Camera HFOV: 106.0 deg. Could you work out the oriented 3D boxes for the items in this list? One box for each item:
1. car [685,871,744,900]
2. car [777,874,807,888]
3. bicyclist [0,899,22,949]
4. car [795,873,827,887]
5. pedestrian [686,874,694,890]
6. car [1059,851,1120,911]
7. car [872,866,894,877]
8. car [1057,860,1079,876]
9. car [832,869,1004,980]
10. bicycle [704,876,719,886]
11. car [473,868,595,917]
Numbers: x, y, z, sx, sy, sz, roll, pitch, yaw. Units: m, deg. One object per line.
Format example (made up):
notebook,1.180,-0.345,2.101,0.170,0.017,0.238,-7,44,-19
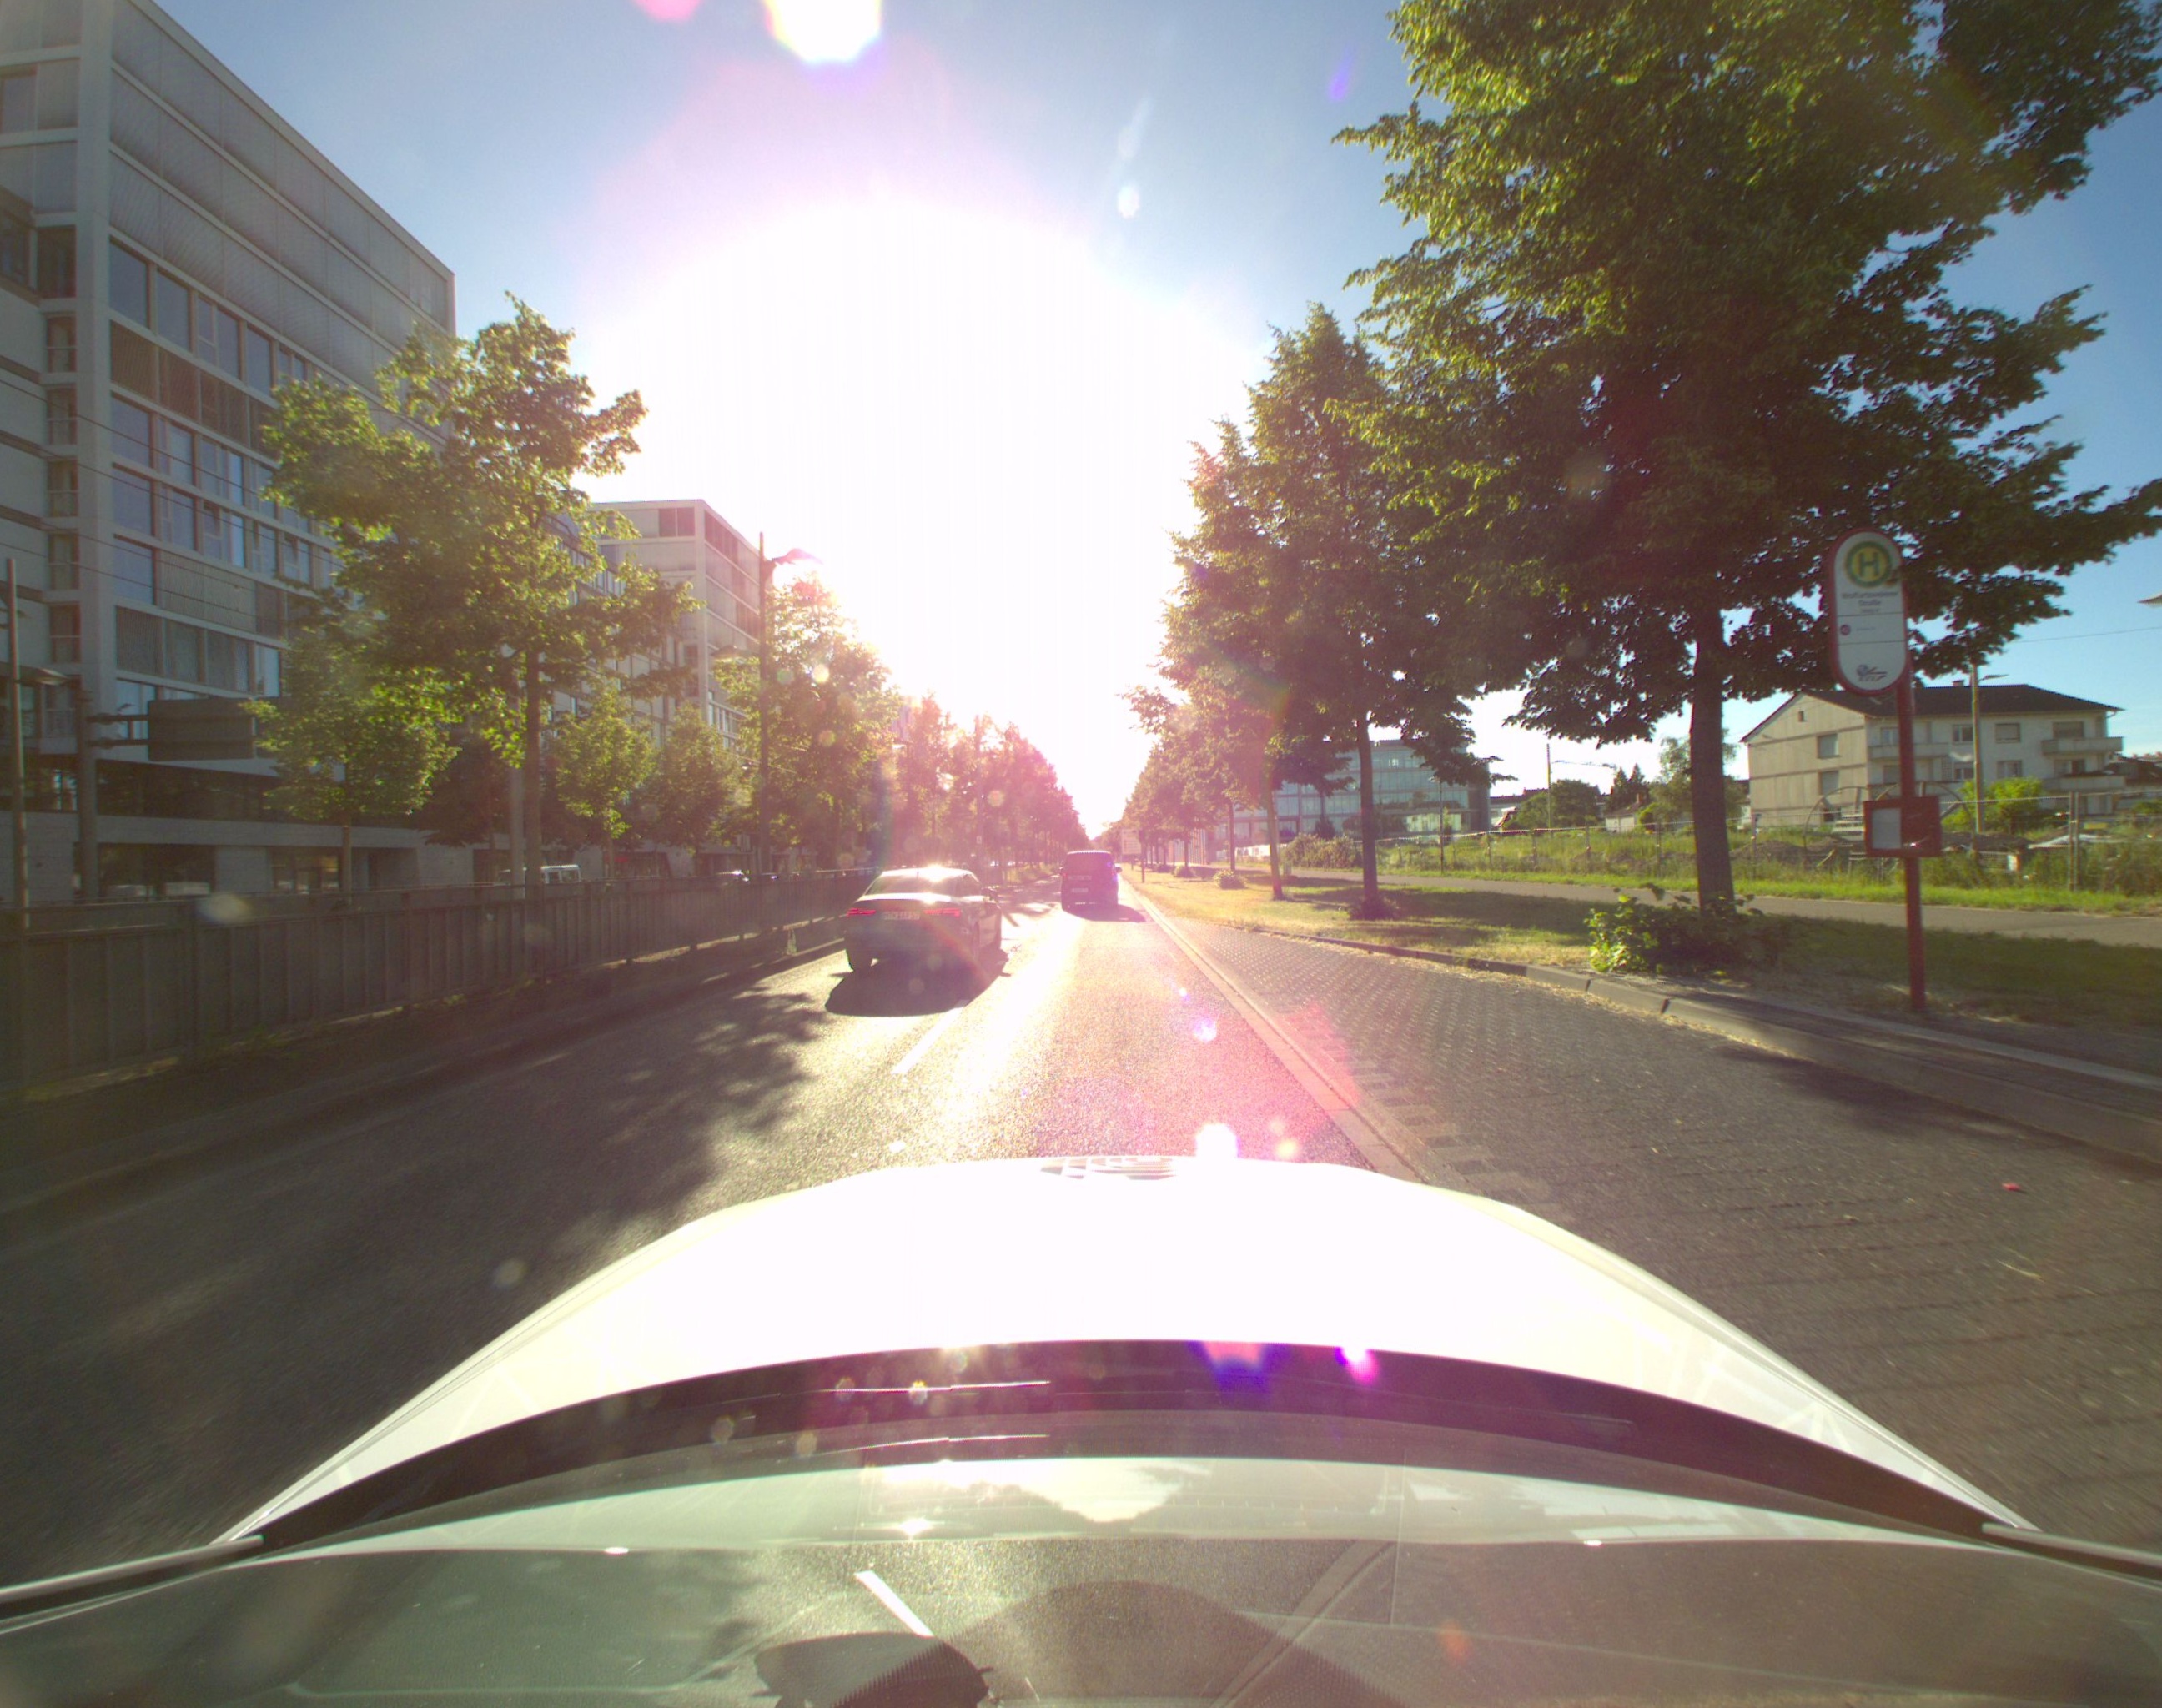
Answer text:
car,-21.252,1.788,47.341,1.673,1.520,3.701,-2,0,1
car,-29.088,2.709,82.062,1.662,1.207,3.583,-2,0,0
bicyclist,-32.840,2.123,24.549,0.717,1.463,0.832,-2,-1,3
car,-29.106,2.787,87.918,1.662,1.420,4.805,-2,0,1
pedestrian,-35.908,2.556,74.752,0.406,1.413,0.690,-2,-2,1
car,0.261,0.841,26.400,1.792,1.777,3.999,-1,-1,0
car,-28.135,2.414,115.830,1.709,1.420,4.546,-2,0,2
car,-1.184,1.310,76.742,1.936,1.441,3.998,-2,0,-1
car,-2.267,0.932,12.417,1.715,1.366,4.146,0,-1,1
bicycle,-36.427,2.639,80.221,0.539,0.972,1.983,-2,-2,1
car,-22.248,1.508,33.344,1.986,1.750,4.228,-3,-1,1
